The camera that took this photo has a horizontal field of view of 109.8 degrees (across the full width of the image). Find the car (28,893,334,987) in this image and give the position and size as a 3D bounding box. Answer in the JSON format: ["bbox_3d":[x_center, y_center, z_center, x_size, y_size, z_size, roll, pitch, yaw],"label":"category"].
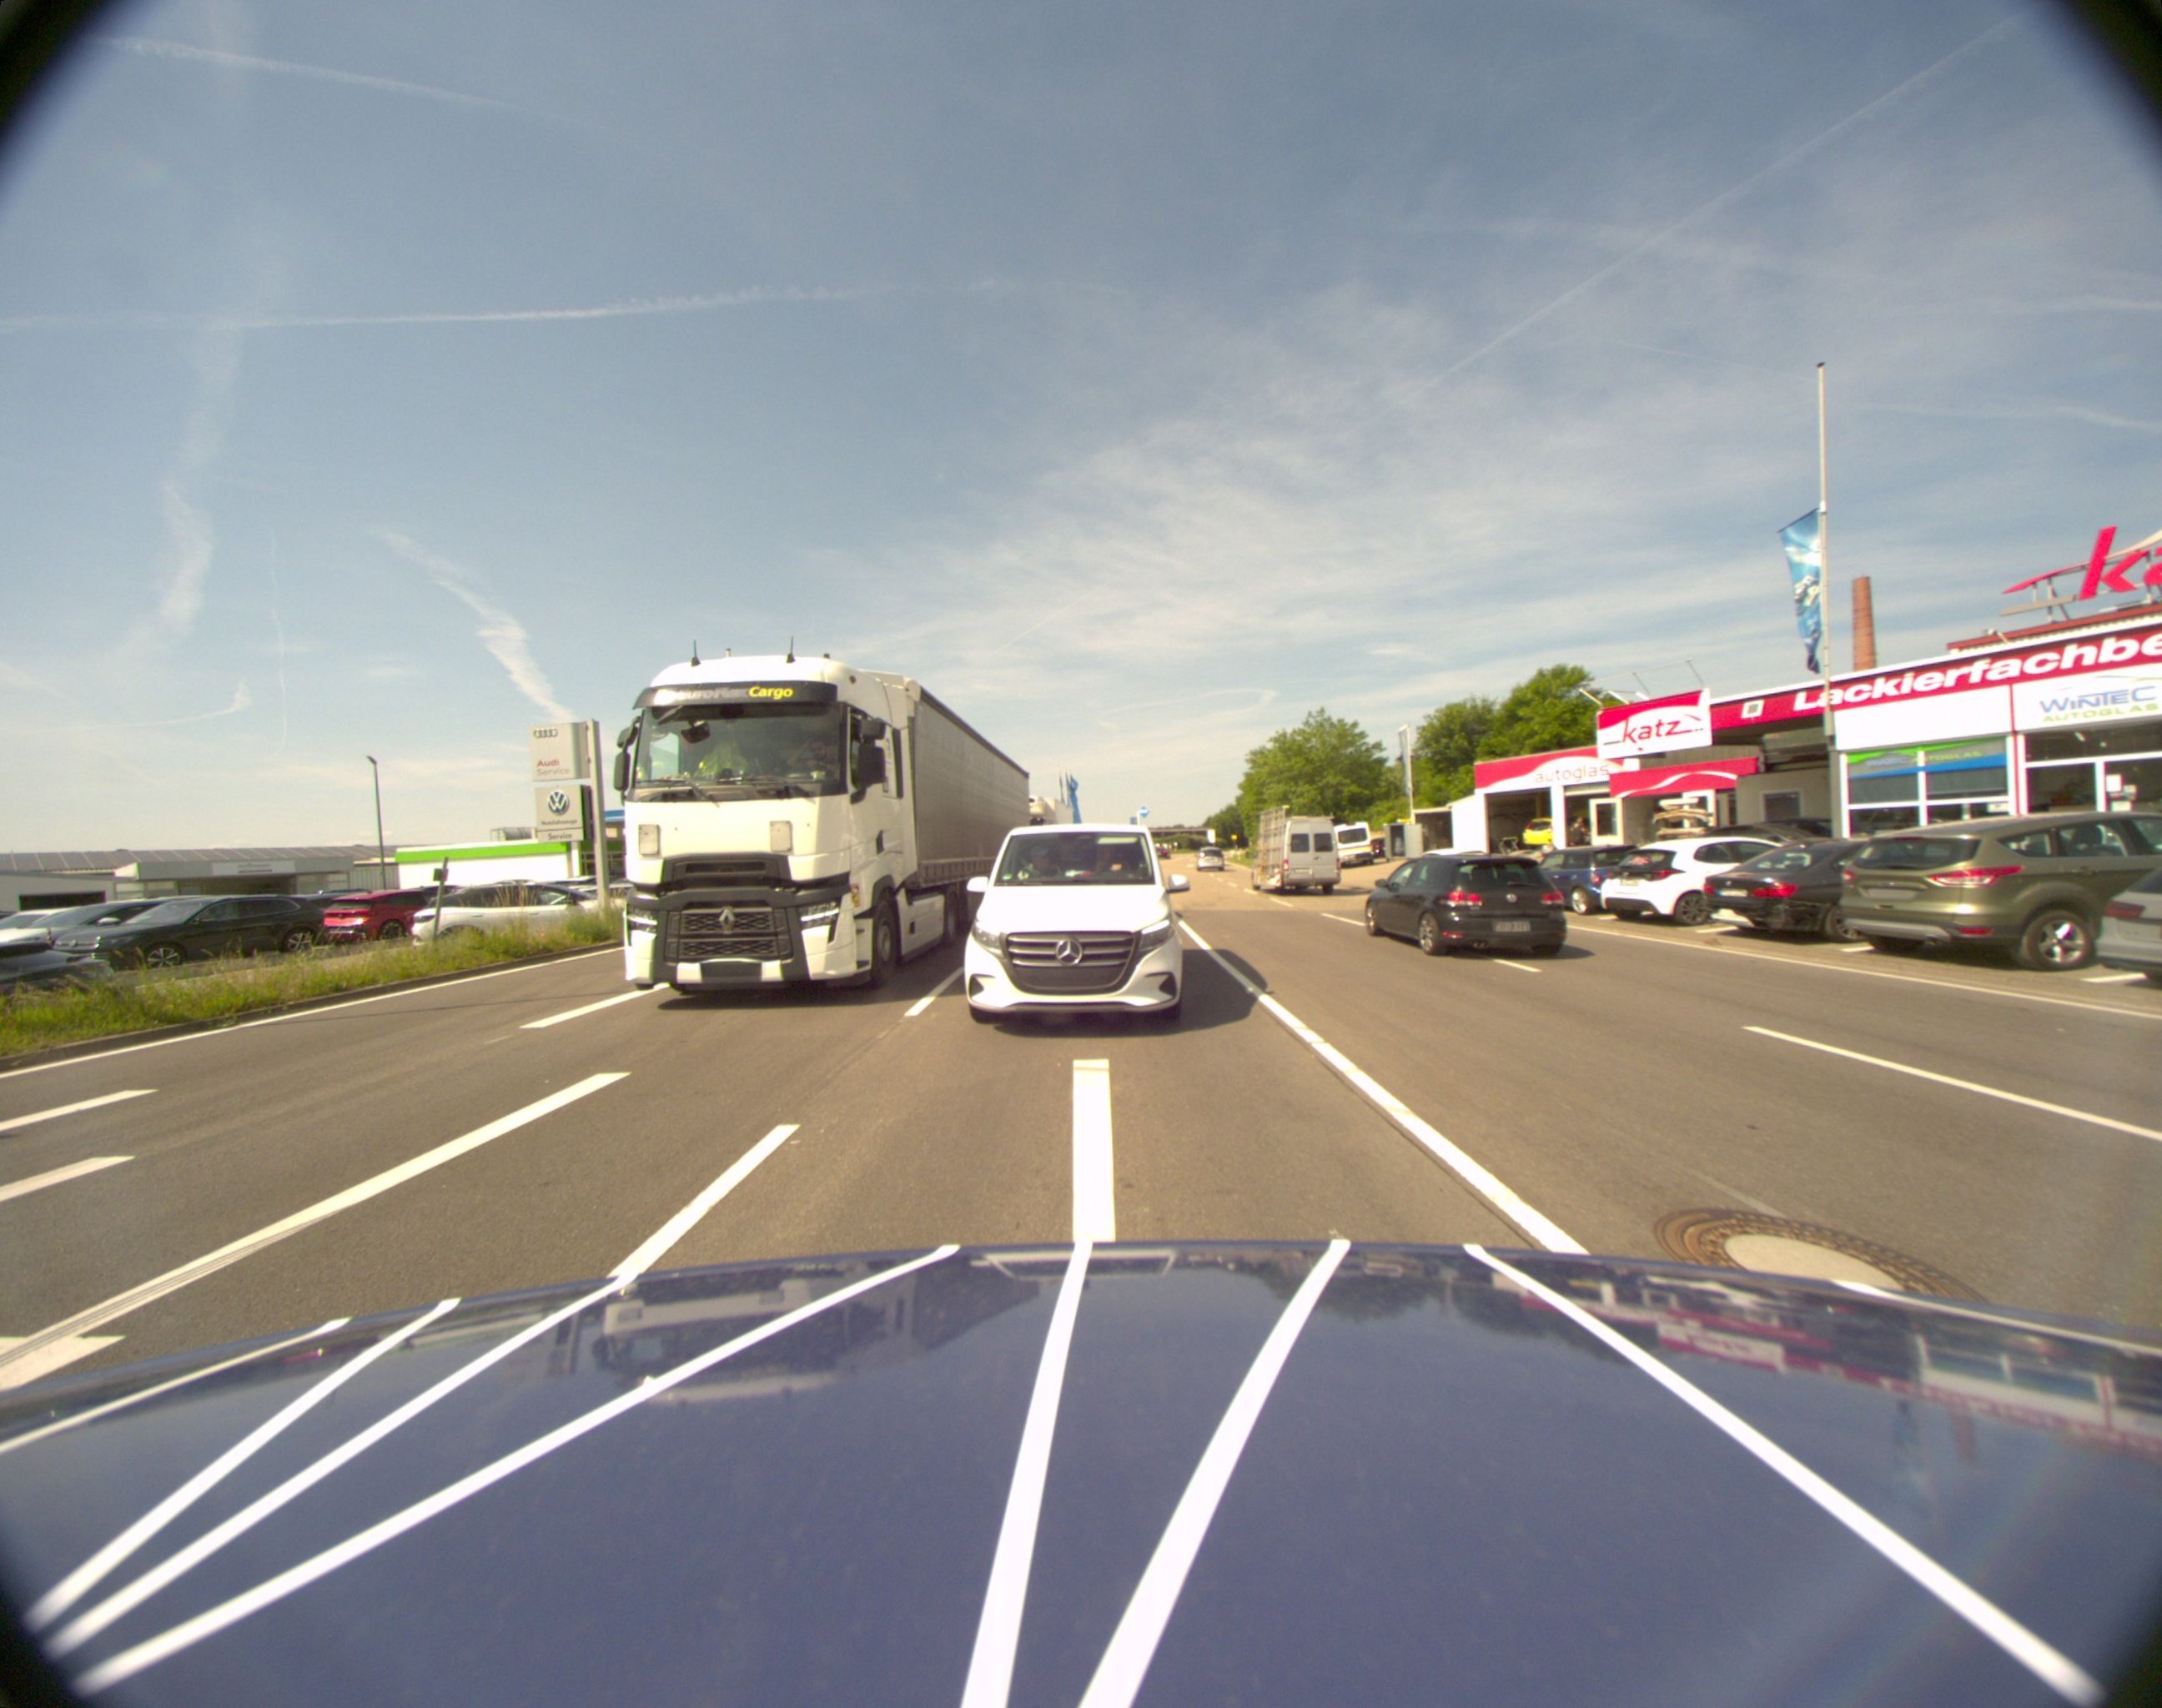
[{"bbox_3d":[-21.139,1.938,18.194,1.998,1.647,4.283,-2,0,5],"label":"car"}]

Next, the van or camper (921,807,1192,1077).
[{"bbox_3d":[-0.036,0.668,8.484,1.998,2.002,5.291,-3,0,4],"label":"van or camper"}]

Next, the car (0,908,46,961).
[{"bbox_3d":[-31.051,2.315,20.370,1.562,1.401,3.596,-1,1,4],"label":"car"}]

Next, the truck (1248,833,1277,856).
[{"bbox_3d":[35.119,-1.780,146.599,2.958,4.185,10.665,0,1,27],"label":"truck"}]

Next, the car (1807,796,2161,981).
[{"bbox_3d":[11.544,0.323,9.063,3.895,1.707,1.806,-6,1,1],"label":"car"}]

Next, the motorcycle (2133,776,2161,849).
[{"bbox_3d":[19.191,-0.717,12.506,0.773,1.254,2.051,-2,1,-19],"label":"motorcycle"}]

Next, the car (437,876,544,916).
[{"bbox_3d":[-27.622,1.928,35.745,1.789,1.565,4.000,-2,0,1],"label":"car"}]

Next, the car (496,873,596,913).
[{"bbox_3d":[-25.064,1.794,35.792,1.789,1.565,4.000,-2,0,1],"label":"car"}]

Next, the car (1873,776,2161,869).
[{"bbox_3d":[20.814,-0.635,17.083,1.706,1.749,3.754,-6,2,-23],"label":"car"}]

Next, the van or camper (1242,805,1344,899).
[{"bbox_3d":[7.581,-0.101,27.844,2.212,3.038,5.902,-1,1,2],"label":"van or camper"}]

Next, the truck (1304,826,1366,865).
[{"bbox_3d":[17.613,-0.607,53.241,2.335,2.284,8.806,-7,0,8],"label":"truck"}]

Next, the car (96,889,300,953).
[{"bbox_3d":[-28.317,2.093,24.587,1.707,1.608,3.971,-2,0,7],"label":"car"}]

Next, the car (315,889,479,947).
[{"bbox_3d":[-20.697,1.875,23.202,1.562,1.401,3.596,-1,1,4],"label":"car"}]

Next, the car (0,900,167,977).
[{"bbox_3d":[-26.309,2.135,19.068,1.707,1.608,3.970,-2,0,5],"label":"car"}]

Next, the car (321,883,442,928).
[{"bbox_3d":[-29.802,2.196,32.424,3.648,1.641,1.755,-3,1,7],"label":"car"}]

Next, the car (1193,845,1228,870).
[{"bbox_3d":[9.104,0.210,53.659,1.914,1.653,4.180,0,1,2],"label":"car"}]

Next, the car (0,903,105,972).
[{"bbox_3d":[-28.397,2.235,19.348,1.707,1.608,3.970,-2,0,5],"label":"car"}]

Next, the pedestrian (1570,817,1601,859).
[{"bbox_3d":[21.809,-0.684,32.859,0.724,1.752,0.895,-2,2,5],"label":"pedestrian"}]

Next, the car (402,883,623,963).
[{"bbox_3d":[-12.701,1.483,17.276,3.668,1.394,1.735,-3,1,-25],"label":"car"}]

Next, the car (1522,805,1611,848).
[{"bbox_3d":[23.661,-1.339,37.055,3.674,1.715,1.736,-6,2,-20],"label":"car"}]

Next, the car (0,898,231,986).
[{"bbox_3d":[-23.623,2.034,18.259,1.856,1.608,3.828,-2,1,5],"label":"car"}]

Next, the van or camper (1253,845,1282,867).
[{"bbox_3d":[14.559,0.103,59.501,1.643,1.515,4.469,-3,1,7],"label":"van or camper"}]

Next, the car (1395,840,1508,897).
[{"bbox_3d":[11.724,0.406,24.349,1.783,1.608,4.000,-2,1,3],"label":"car"}]

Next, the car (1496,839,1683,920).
[{"bbox_3d":[11.428,0.499,17.429,1.783,1.485,3.782,-6,1,3],"label":"car"}]

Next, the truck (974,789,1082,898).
[{"bbox_3d":[-1.893,-0.441,32.506,2.885,3.789,11.143,-2,1,4],"label":"truck"}]

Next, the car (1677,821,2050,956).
[{"bbox_3d":[11.635,0.474,11.502,3.717,1.516,1.792,-6,1,-1],"label":"car"}]

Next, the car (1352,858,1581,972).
[{"bbox_3d":[5.675,0.805,11.764,1.670,1.401,3.926,0,1,2],"label":"car"}]

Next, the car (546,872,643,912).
[{"bbox_3d":[-22.395,1.684,35.145,1.789,1.565,4.000,-2,0,1],"label":"car"}]

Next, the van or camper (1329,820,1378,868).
[{"bbox_3d":[16.195,-0.648,45.424,2.157,2.484,5.956,-6,0,16],"label":"van or camper"}]

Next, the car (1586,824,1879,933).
[{"bbox_3d":[11.999,0.420,14.200,3.805,1.516,1.846,-6,1,-1],"label":"car"}]

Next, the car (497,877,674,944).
[{"bbox_3d":[-12.959,1.434,20.156,3.668,1.394,1.735,-3,1,-25],"label":"car"}]

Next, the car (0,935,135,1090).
[{"bbox_3d":[-12.967,1.759,7.367,4.354,1.394,1.734,-3,1,-30],"label":"car"}]

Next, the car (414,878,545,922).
[{"bbox_3d":[-24.744,1.891,31.339,3.996,1.565,1.790,-2,1,3],"label":"car"}]

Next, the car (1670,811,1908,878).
[{"bbox_3d":[19.431,-0.192,21.128,1.861,1.496,4.390,-5,-1,-21],"label":"car"}]

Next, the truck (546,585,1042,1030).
[{"bbox_3d":[-3.250,-0.527,15.774,2.897,4.241,16.711,-2,1,3],"label":"truck"}]

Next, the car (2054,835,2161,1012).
[{"bbox_3d":[11.611,0.452,6.456,4.288,1.476,1.836,-6,1,-1],"label":"car"}]

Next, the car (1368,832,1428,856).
[{"bbox_3d":[22.099,-0.678,52.997,3.674,1.521,1.736,-3,1,-21],"label":"car"}]

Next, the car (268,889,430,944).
[{"bbox_3d":[-23.373,1.950,24.455,1.562,1.401,3.596,-1,1,4],"label":"car"}]

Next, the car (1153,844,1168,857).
[{"bbox_3d":[9.856,-0.467,93.918,1.810,1.551,4.389,-1,1,6],"label":"car"}]
